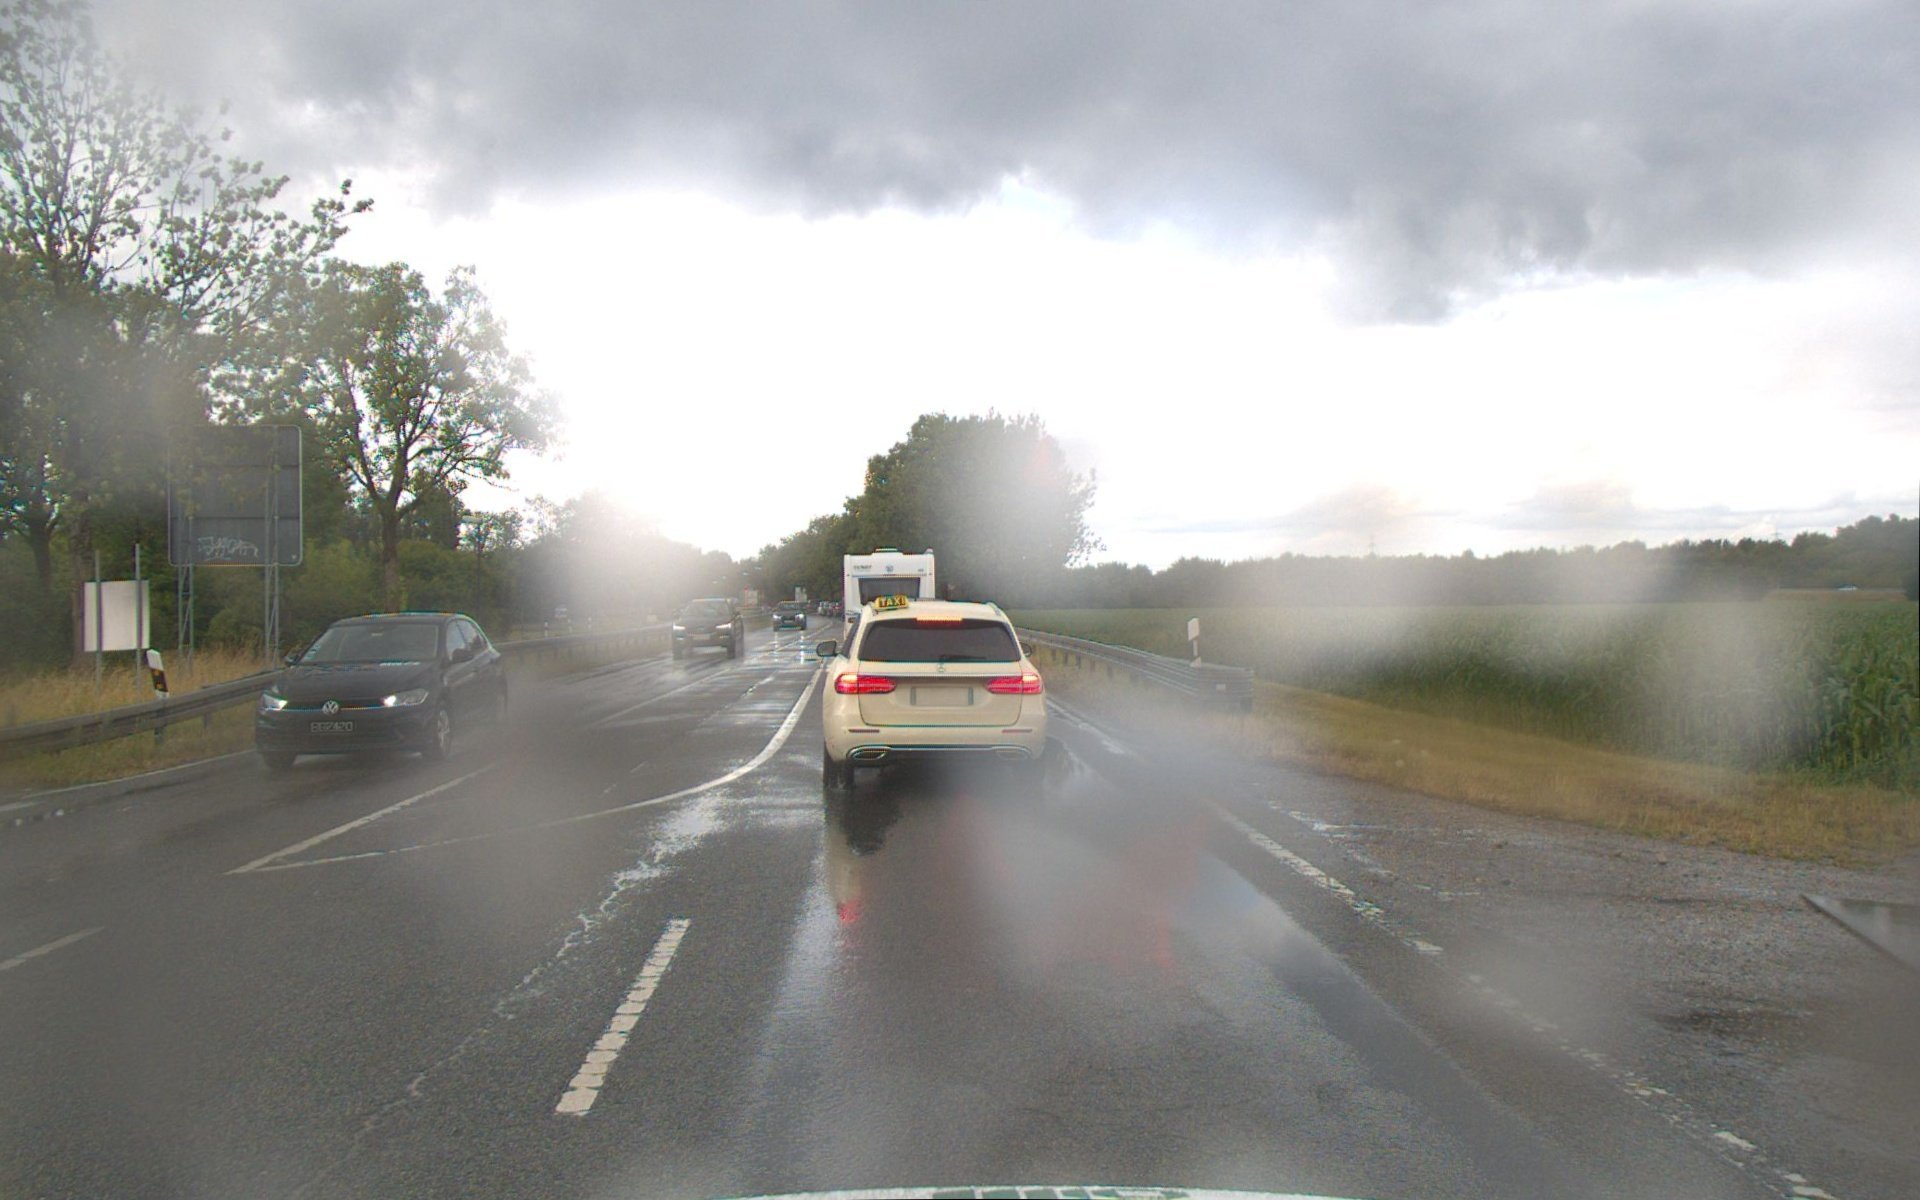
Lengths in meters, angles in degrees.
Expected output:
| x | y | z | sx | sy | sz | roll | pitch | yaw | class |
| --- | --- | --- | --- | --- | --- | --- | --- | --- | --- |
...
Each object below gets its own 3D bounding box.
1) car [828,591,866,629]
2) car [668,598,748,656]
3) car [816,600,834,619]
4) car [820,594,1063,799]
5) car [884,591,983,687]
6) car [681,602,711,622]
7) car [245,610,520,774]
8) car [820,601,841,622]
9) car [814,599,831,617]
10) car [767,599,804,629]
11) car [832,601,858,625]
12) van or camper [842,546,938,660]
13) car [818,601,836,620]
| x | y | z | sx | sy | sz | roll | pitch | yaw | class |
| --- | --- | --- | --- | --- | --- | --- | --- | --- | --- |
| -6.759 | 0.592 | 99.474 | 2.202 | 2.237 | 5.408 | -1 | 0 | -3 | car |
| -7.731 | 0.790 | 51.123 | 1.905 | 1.608 | 4.441 | -2 | 0 | -2 | car |
| -15.504 | 1.057 | 190.190 | 1.954 | 2.087 | 3.996 | -1 | 0 | -5 | car |
| -0.196 | 0.720 | 14.290 | 1.788 | 1.511 | 4.143 | 0 | 0 | -2 | car |
| -0.534 | 0.637 | 29.327 | 1.595 | 1.556 | 3.930 | -1 | 0 | -3 | car |
| -21.948 | 0.975 | 137.580 | 1.953 | 1.680 | 3.999 | -1 | 0 | -2 | car |
| -5.836 | 0.857 | 17.171 | 1.678 | 1.430 | 3.811 | -2 | 0 | -3 | car |
| -13.369 | 1.171 | 170.211 | 1.956 | 2.049 | 3.993 | -1 | 0 | -7 | car |
| -16.710 | 0.971 | 201.010 | 1.955 | 2.049 | 3.995 | -1 | 0 | -5 | car |
| -9.826 | 0.781 | 93.177 | 1.733 | 1.550 | 4.139 | -2 | 0 | -2 | car |
| -9.878 | 1.086 | 142.164 | 1.956 | 2.049 | 3.993 | -1 | 0 | -8 | car |
| -1.837 | 0.052 | 42.994 | 2.304 | 2.727 | 5.765 | -1 | 0 | -3 | van or camper |
| -14.796 | 1.181 | 183.394 | 1.955 | 2.049 | 3.995 | -1 | 0 | -5 | car |
